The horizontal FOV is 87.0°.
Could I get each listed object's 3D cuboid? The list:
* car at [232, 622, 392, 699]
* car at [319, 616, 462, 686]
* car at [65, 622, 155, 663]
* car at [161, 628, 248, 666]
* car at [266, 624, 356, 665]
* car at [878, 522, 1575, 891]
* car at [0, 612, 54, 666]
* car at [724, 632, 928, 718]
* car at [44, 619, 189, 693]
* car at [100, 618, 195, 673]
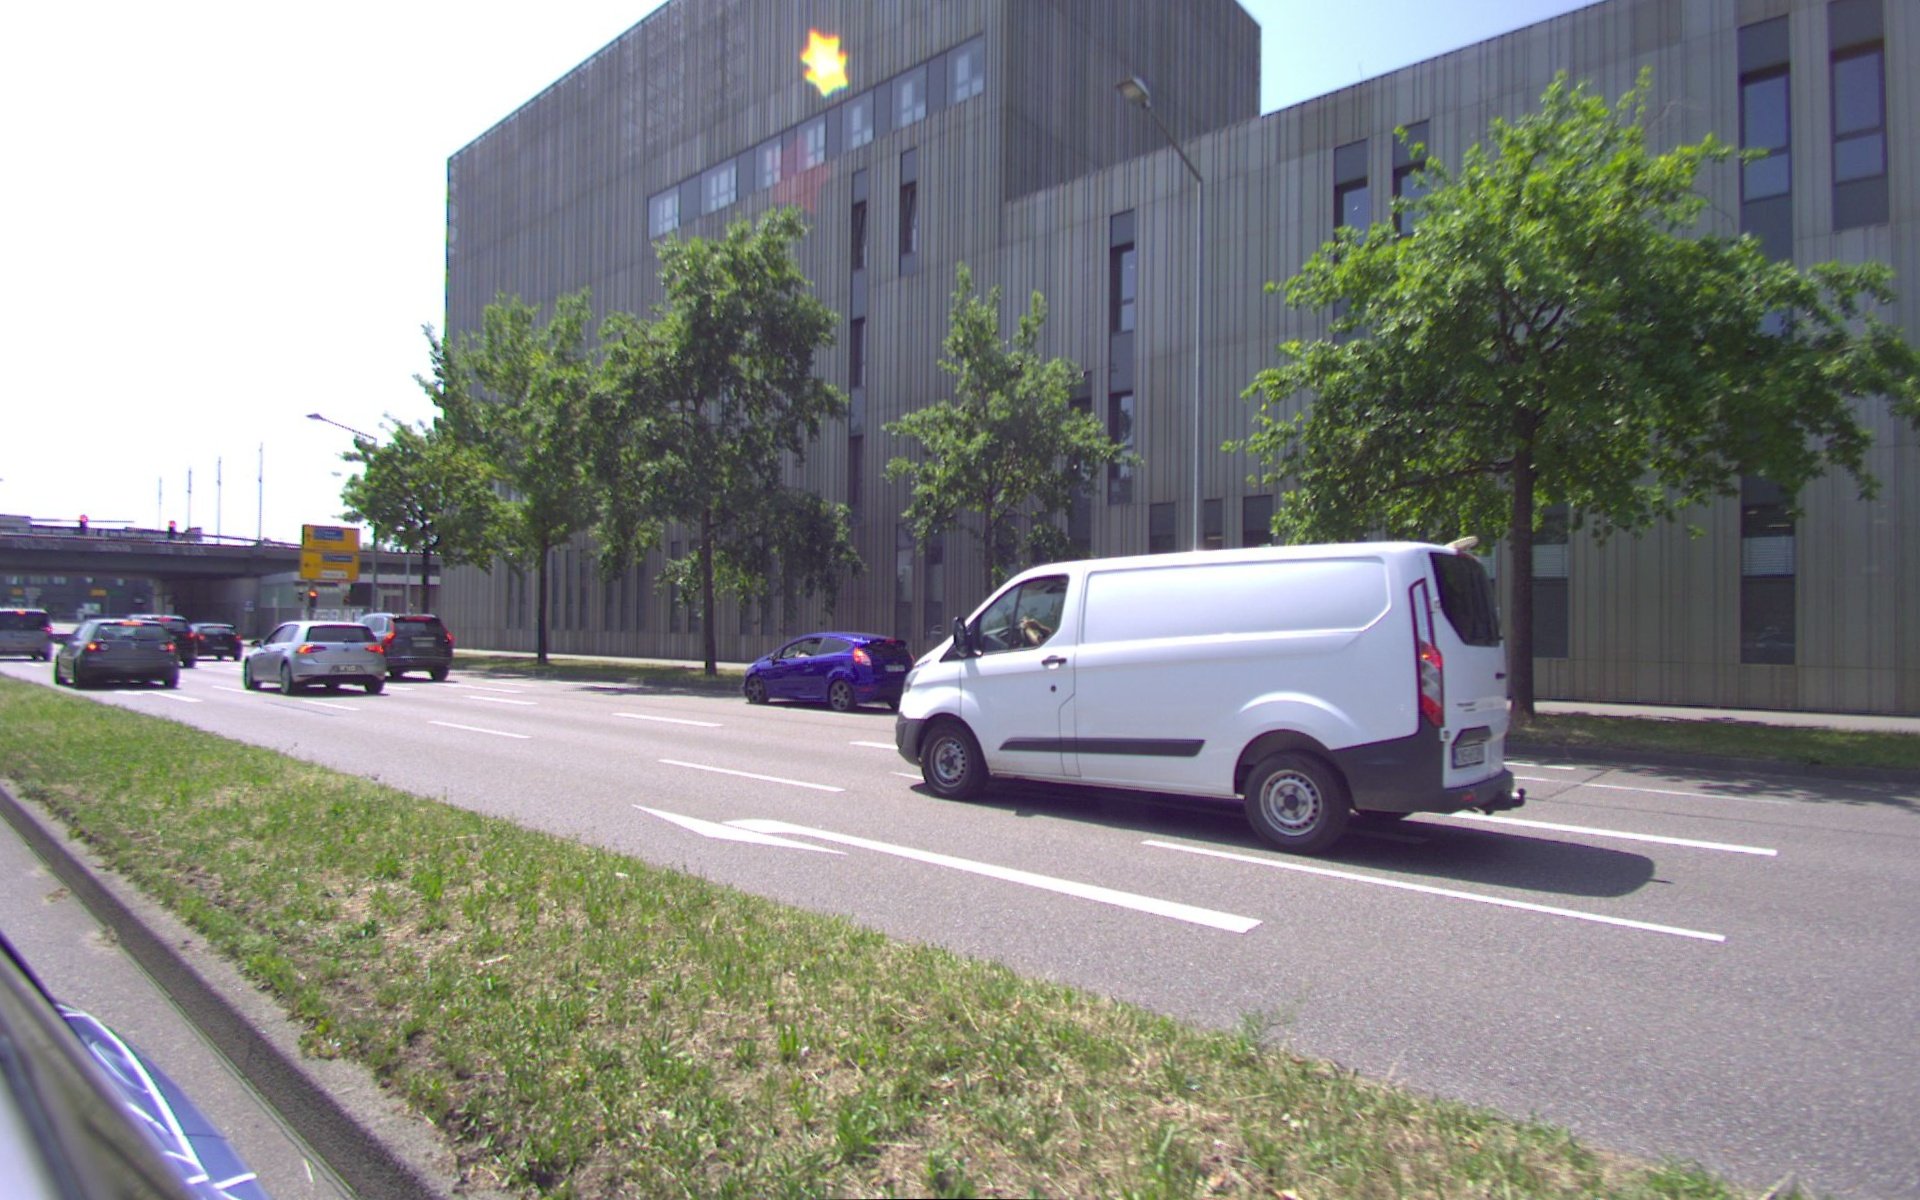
[{"bbox_3d":[-13.692,1.216,21.297,4.143,1.471,1.747,-1,-3,42],"label":"car"},{"bbox_3d":[-15.471,1.339,27.414,4.642,1.760,1.792,-1,-3,40],"label":"car"},{"bbox_3d":[-31.555,1.559,37.522,4.246,1.457,1.792,-1,-3,40],"label":"car"},{"bbox_3d":[-30.007,1.855,40.154,4.246,1.428,1.792,-1,-3,40],"label":"car"},{"bbox_3d":[-26.092,1.800,40.626,4.367,1.555,1.792,-2,-4,40],"label":"car"},{"bbox_3d":[1.770,0.652,7.859,4.895,2.008,1.889,-1,-3,41],"label":"car"},{"bbox_3d":[-33.374,1.360,35.535,4.712,1.815,1.791,-2,-4,42],"label":"car"},{"bbox_3d":[-2.633,1.369,19.454,4.014,1.467,1.604,-1,-3,40],"label":"car"},{"bbox_3d":[-18.463,1.182,22.088,4.056,1.477,1.791,-1,-3,41],"label":"car"},{"bbox_3d":[-26.532,1.443,33.010,4.573,1.676,1.782,-1,-3,44],"label":"car"}]
